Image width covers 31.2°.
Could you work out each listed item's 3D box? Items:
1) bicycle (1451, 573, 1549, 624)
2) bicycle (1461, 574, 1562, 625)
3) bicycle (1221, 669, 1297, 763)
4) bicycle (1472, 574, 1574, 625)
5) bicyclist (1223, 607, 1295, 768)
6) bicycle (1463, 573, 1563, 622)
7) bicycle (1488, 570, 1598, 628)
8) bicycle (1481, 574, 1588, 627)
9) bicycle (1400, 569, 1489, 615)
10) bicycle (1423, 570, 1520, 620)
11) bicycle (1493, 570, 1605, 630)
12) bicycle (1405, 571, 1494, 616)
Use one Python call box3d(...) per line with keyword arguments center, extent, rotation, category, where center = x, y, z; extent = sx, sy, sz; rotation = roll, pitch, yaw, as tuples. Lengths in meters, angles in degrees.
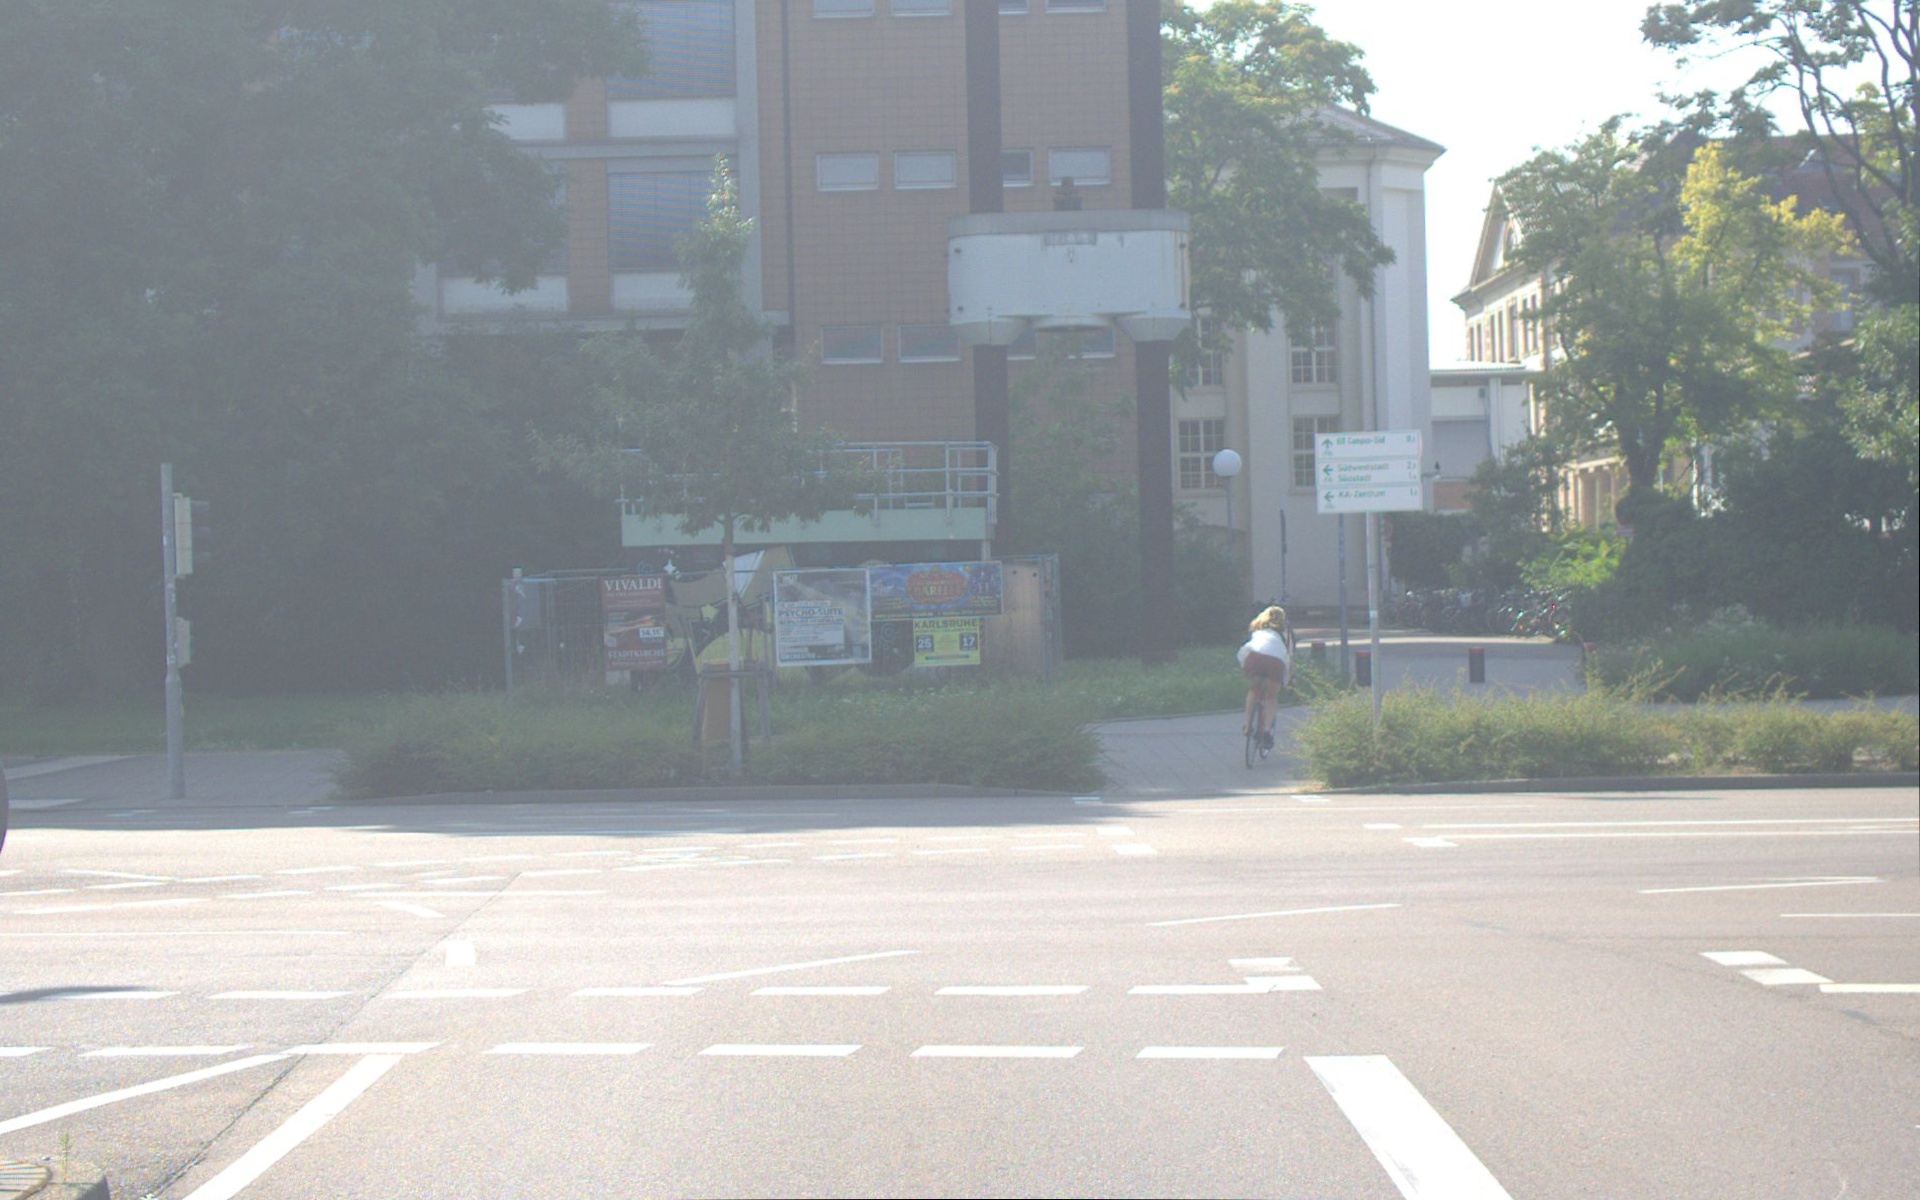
box3d(center=(13.848, -0.047, 88.210), extent=(2.427, 1.277, 0.720), rotation=(0, 0, 5), category="bicycle")
box3d(center=(13.721, -0.015, 85.585), extent=(2.427, 1.235, 0.720), rotation=(0, 0, 5), category="bicycle")
box3d(center=(3.048, 1.172, 34.965), extent=(0.673, 0.876, 1.400), rotation=(-1, 0, 8), category="bicycle")
box3d(center=(13.854, -0.010, 84.640), extent=(2.427, 1.230, 0.720), rotation=(0, 0, 5), category="bicycle")
box3d(center=(3.057, 0.880, 35.076), extent=(0.650, 1.596, 0.919), rotation=(-1, 0, 8), category="bicyclist")
box3d(center=(13.937, -0.069, 86.621), extent=(2.427, 1.225, 0.720), rotation=(0, 0, 5), category="bicycle")
box3d(center=(13.395, -0.033, 78.981), extent=(2.427, 1.314, 0.720), rotation=(0, 0, 5), category="bicycle")
box3d(center=(13.612, 0.005, 81.514), extent=(2.427, 1.219, 0.720), rotation=(0, 0, 5), category="bicycle")
box3d(center=(13.700, -0.232, 97.236), extent=(2.427, 1.276, 0.720), rotation=(0, 0, 5), category="bicycle")
box3d(center=(13.301, -0.137, 89.448), extent=(2.427, 1.277, 0.720), rotation=(0, 0, 5), category="bicycle")
box3d(center=(13.323, -0.004, 77.847), extent=(2.427, 1.314, 0.720), rotation=(0, 0, 5), category="bicycle")
box3d(center=(13.717, -0.187, 96.316), extent=(2.427, 1.258, 0.720), rotation=(0, 0, 5), category="bicycle")
